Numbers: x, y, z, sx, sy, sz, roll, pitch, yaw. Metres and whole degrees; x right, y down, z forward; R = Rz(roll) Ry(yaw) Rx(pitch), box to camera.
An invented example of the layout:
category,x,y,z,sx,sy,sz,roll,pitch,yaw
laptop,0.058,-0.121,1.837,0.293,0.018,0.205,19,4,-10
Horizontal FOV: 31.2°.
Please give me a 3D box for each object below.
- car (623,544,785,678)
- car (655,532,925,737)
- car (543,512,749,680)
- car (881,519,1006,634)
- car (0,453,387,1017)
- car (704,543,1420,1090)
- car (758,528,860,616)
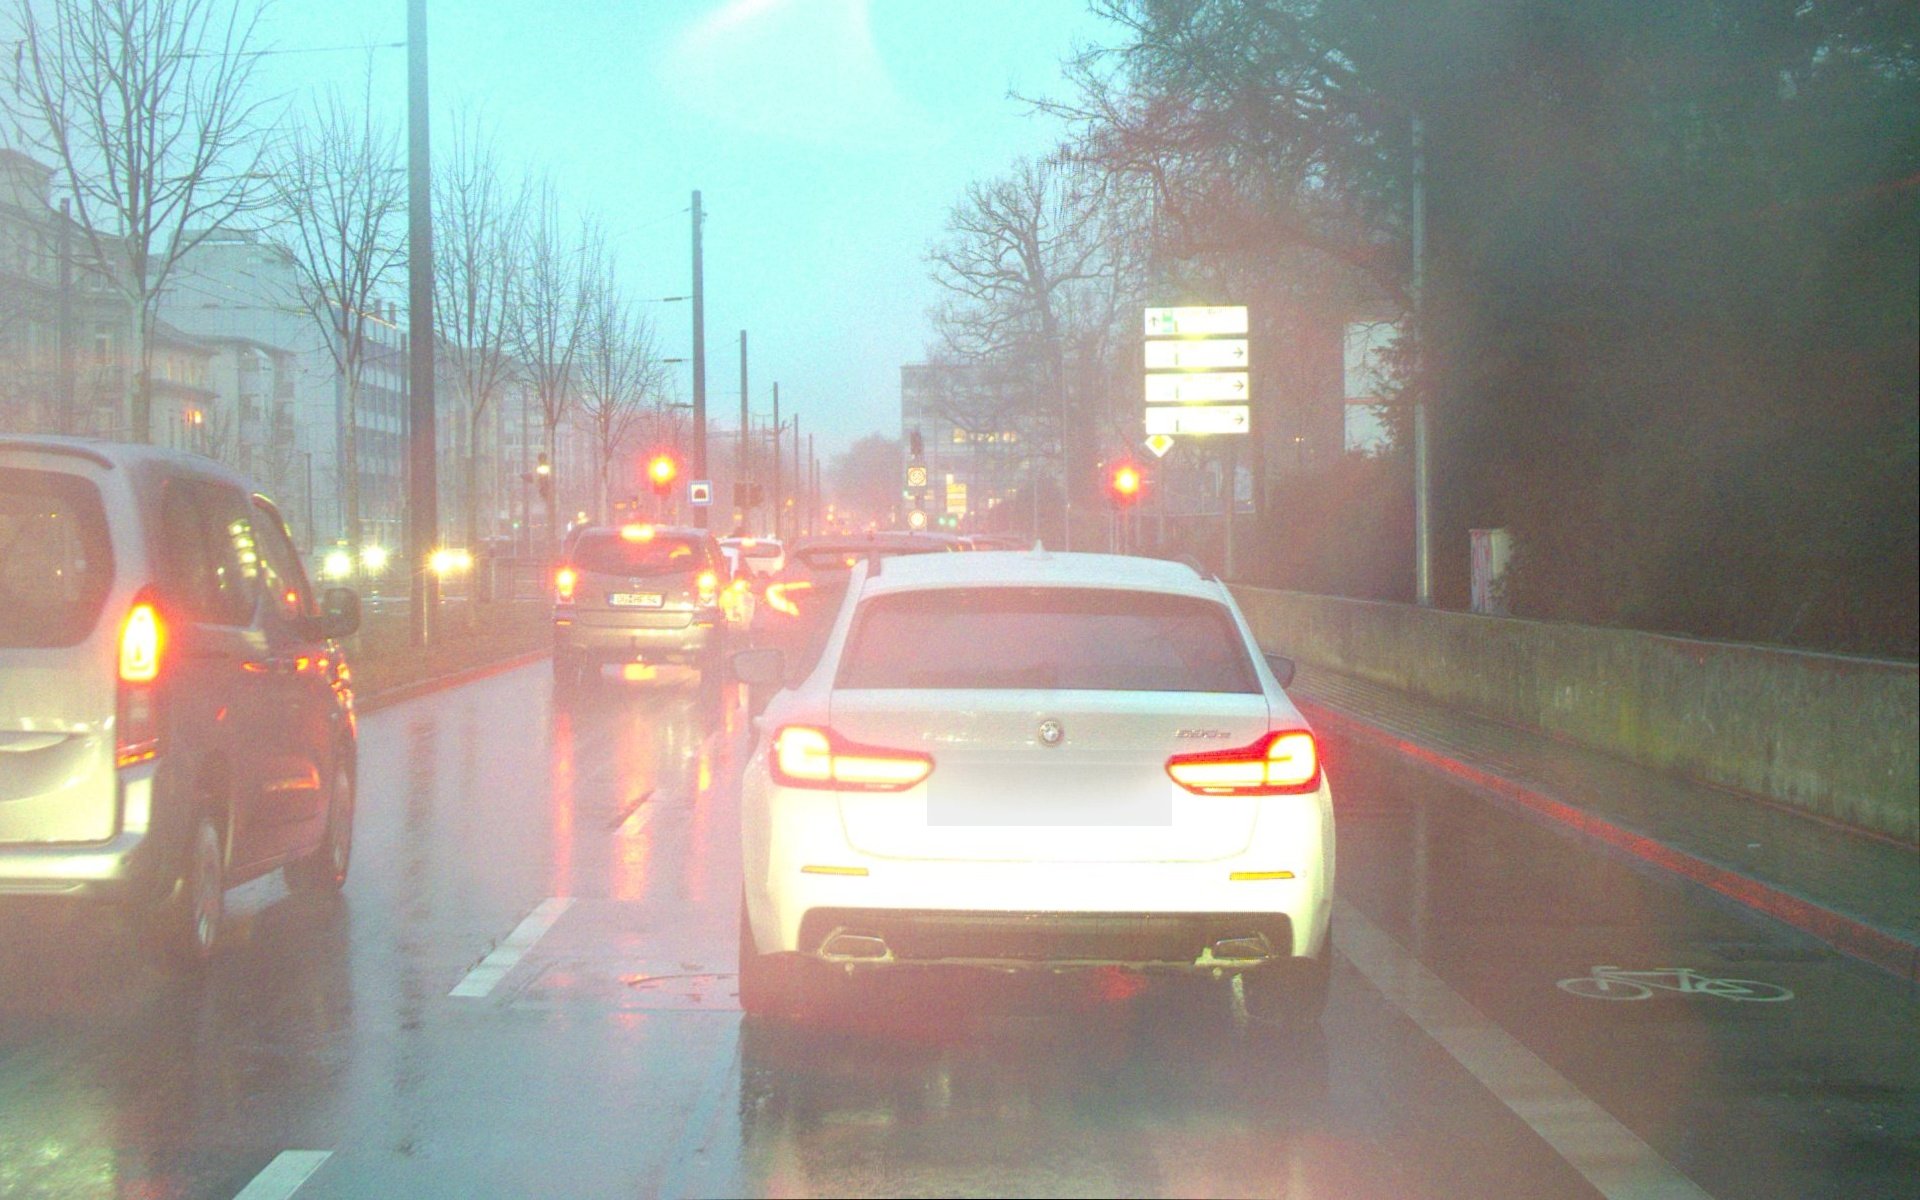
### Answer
category,x,y,z,sx,sy,sz,roll,pitch,yaw
car,-3.493,0.117,47.561,1.993,1.749,4.000,1,1,-1
car,-1.244,0.210,26.817,1.936,1.452,4.164,0,1,-1
car,-3.228,-0.080,36.043,1.806,1.640,4.000,1,1,0
car,-0.258,-0.386,51.990,1.806,1.640,4.000,1,1,0
car,-3.351,0.373,12.838,1.793,1.730,4.538,1,1,-2
car,0.266,0.575,11.734,1.999,1.503,4.164,0,1,-1
car,-2.904,-0.570,66.812,1.806,1.640,4.000,1,1,0
